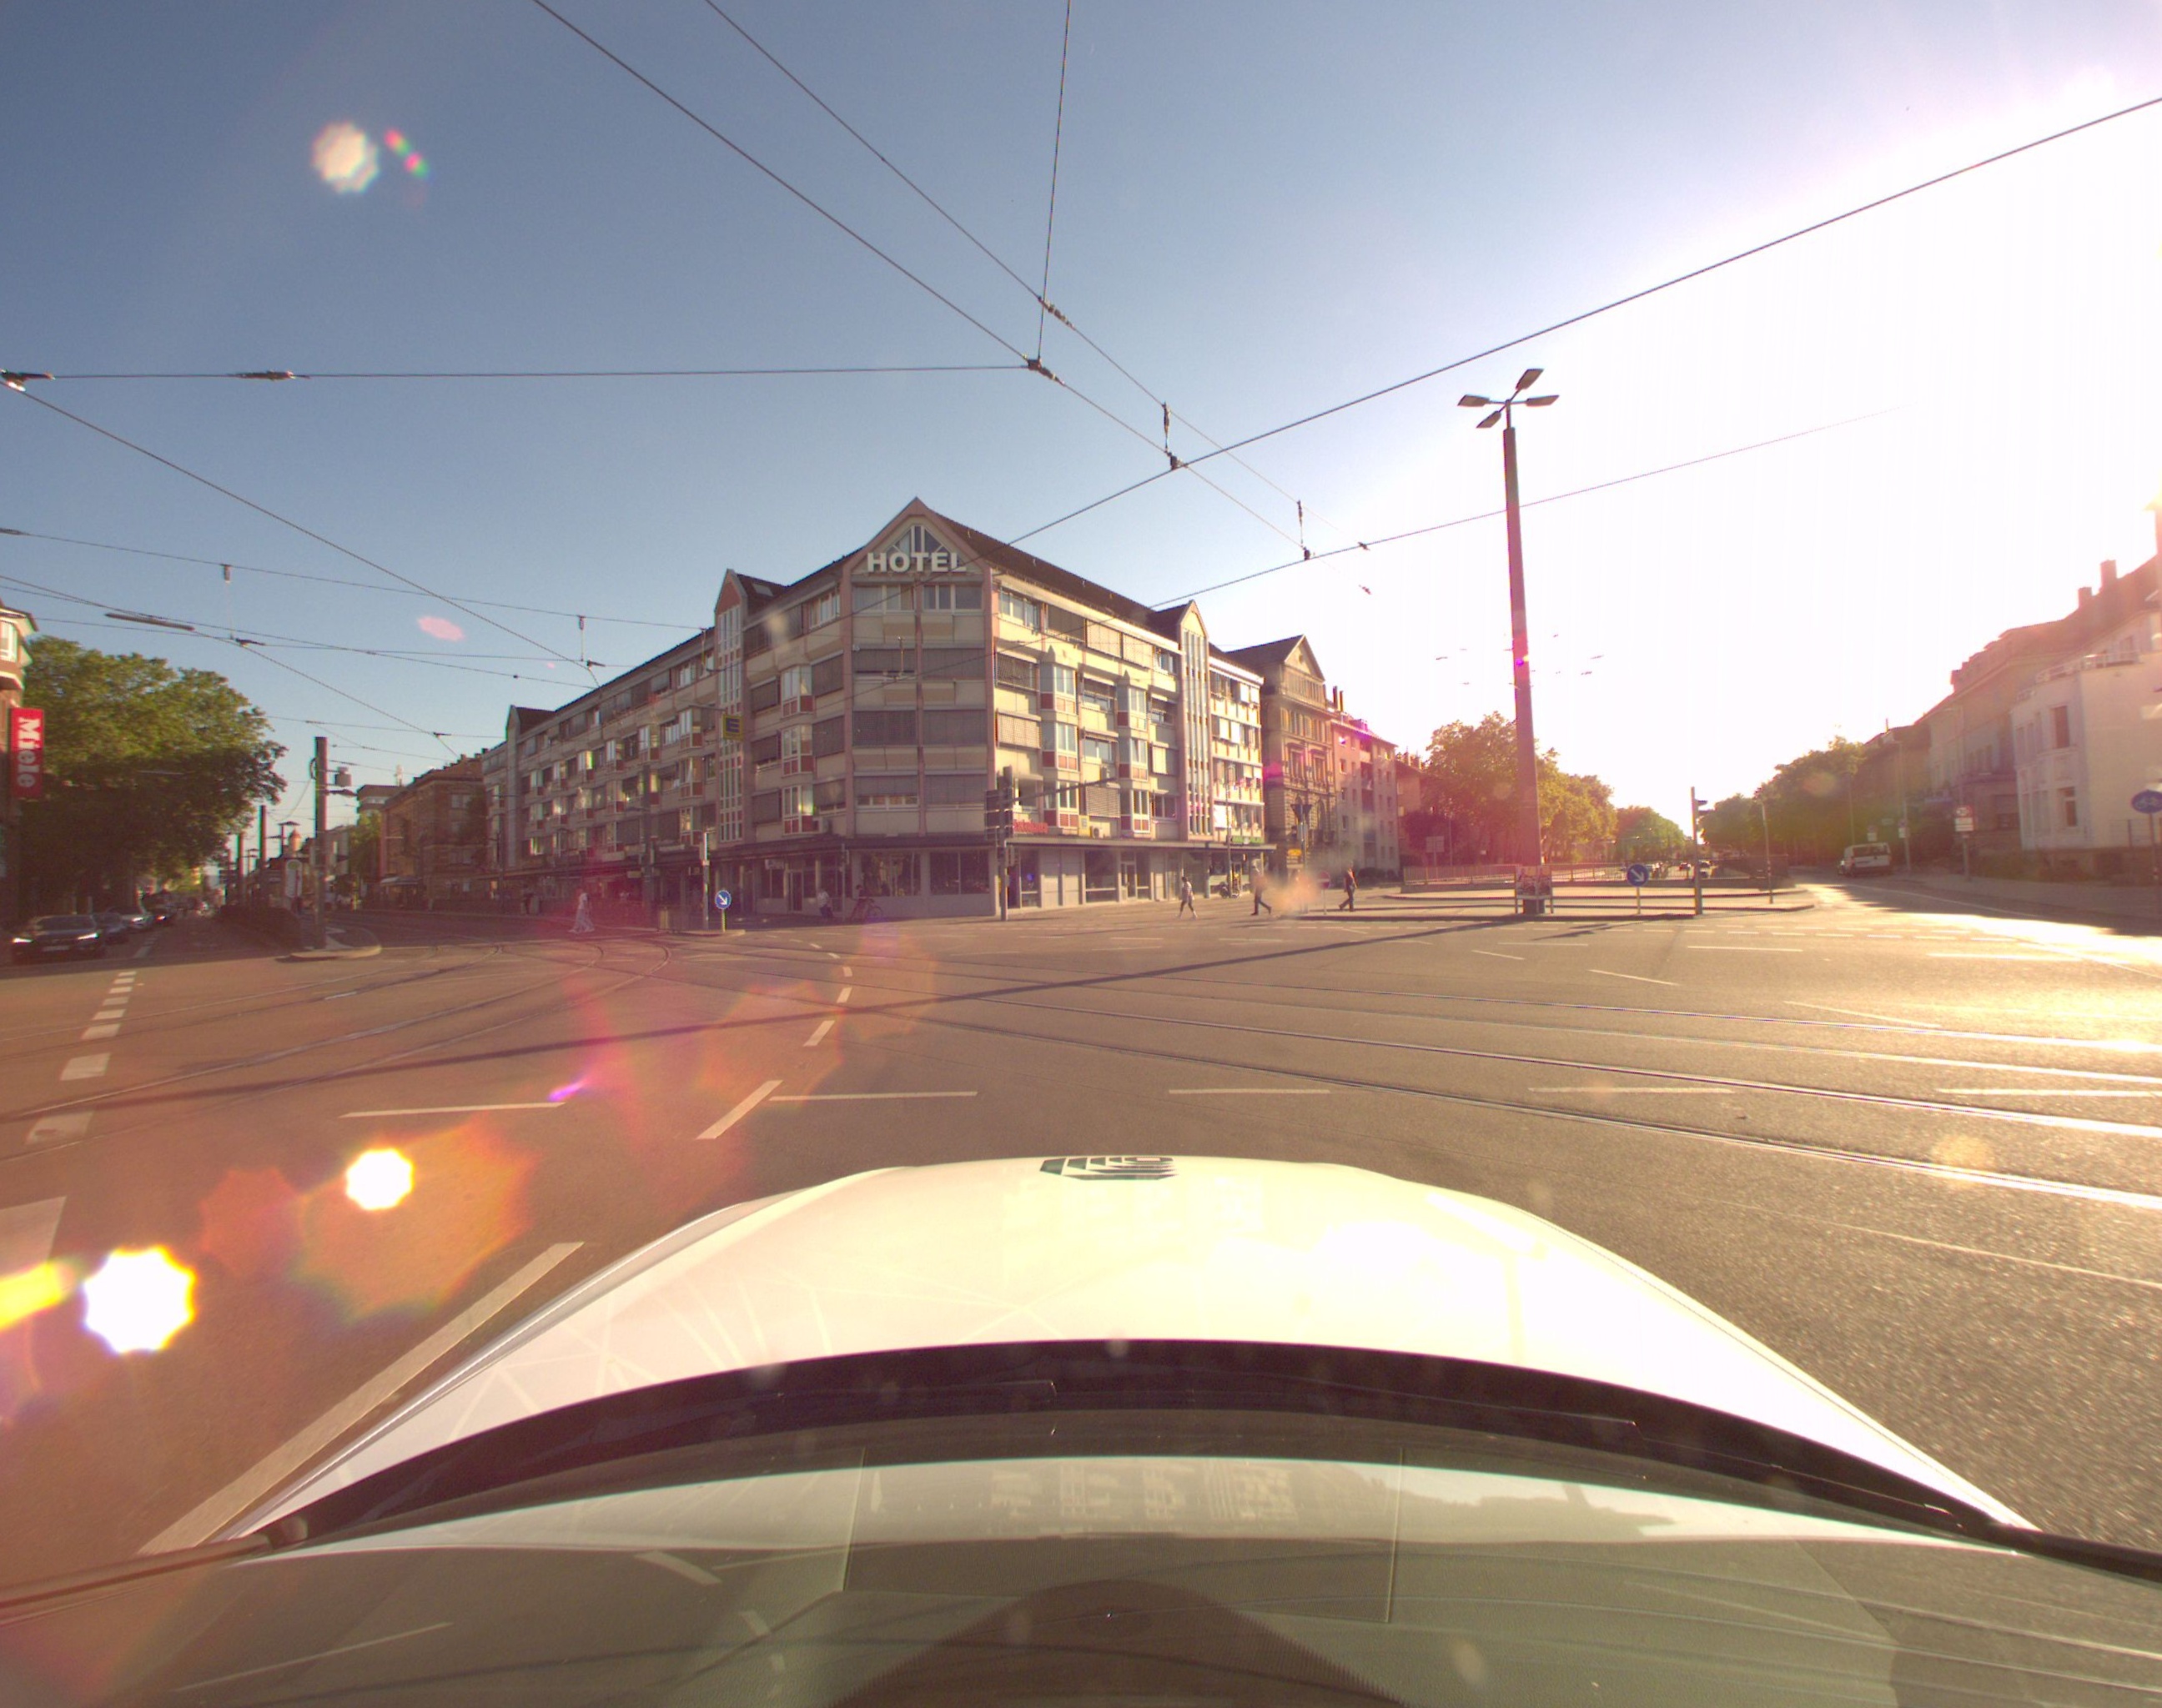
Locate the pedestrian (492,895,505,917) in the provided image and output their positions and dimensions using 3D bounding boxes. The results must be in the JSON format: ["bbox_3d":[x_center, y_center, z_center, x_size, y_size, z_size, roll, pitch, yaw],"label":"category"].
[{"bbox_3d":[-53.198,4.752,74.315,0.846,2.014,0.768,1,-2,-43],"label":"pedestrian"}]

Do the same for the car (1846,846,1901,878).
[{"bbox_3d":[55.732,0.605,57.359,2.263,2.172,4.863,-1,-2,39],"label":"car"}]

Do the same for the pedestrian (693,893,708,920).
[{"bbox_3d":[-23.002,3.160,49.221,0.608,1.635,0.602,0,-2,-7],"label":"pedestrian"}]

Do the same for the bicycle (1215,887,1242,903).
[{"bbox_3d":[9.782,2.713,54.078,2.101,1.071,0.447,1,-2,-36],"label":"bicycle"}]

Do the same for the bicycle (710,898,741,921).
[{"bbox_3d":[-20.032,3.112,45.867,2.302,1.227,0.734,-3,-3,43],"label":"bicycle"}]

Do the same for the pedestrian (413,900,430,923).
[{"bbox_3d":[-51.073,4.447,63.058,0.675,1.660,0.786,-1,-2,32],"label":"pedestrian"}]

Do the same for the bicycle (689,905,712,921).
[{"bbox_3d":[-22.335,3.459,47.765,2.052,0.917,0.504,-3,-3,43],"label":"bicycle"}]

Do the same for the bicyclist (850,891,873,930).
[{"bbox_3d":[-9.549,2.449,35.481,0.633,1.596,0.662,-1,1,41],"label":"bicyclist"}]

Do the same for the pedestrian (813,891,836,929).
[{"bbox_3d":[-11.387,2.476,36.128,0.709,1.662,0.636,-3,-3,14],"label":"pedestrian"}]

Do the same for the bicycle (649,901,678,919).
[{"bbox_3d":[-27.543,3.704,53.696,0.478,1.119,1.660,-1,-2,37],"label":"bicycle"}]

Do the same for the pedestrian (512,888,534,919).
[{"bbox_3d":[-30.695,2.726,44.820,0.675,1.660,0.786,-1,-2,32],"label":"pedestrian"}]

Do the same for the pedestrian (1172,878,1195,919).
[{"bbox_3d":[3.793,1.643,30.098,0.849,1.465,0.687,0,-6,8],"label":"pedestrian"}]

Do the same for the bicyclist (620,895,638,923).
[{"bbox_3d":[-26.459,3.214,47.711,0.791,1.532,0.632,-3,0,42],"label":"bicyclist"}]

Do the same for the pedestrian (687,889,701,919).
[{"bbox_3d":[-24.412,3.174,51.356,0.614,1.852,0.596,1,-2,-43],"label":"pedestrian"}]

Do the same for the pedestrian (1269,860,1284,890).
[{"bbox_3d":[15.626,1.658,64.969,0.918,2.398,0.966,-1,-2,27],"label":"pedestrian"}]

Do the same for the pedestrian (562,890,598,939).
[{"bbox_3d":[-18.606,2.246,30.266,0.505,1.764,1.010,-1,-2,18],"label":"pedestrian"}]

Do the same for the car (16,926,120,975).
[{"bbox_3d":[-33.495,3.139,27.020,3.888,1.244,1.761,-1,-2,44],"label":"car"}]

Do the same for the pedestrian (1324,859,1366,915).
[{"bbox_3d":[9.127,1.132,28.120,1.183,1.884,0.862,-1,-1,33],"label":"pedestrian"}]

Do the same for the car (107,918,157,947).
[{"bbox_3d":[-56.917,4.693,48.888,3.888,1.425,1.761,-1,-2,43],"label":"car"}]

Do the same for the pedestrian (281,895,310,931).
[{"bbox_3d":[-35.576,2.669,36.898,0.614,1.578,0.694,-1,-2,17],"label":"pedestrian"}]

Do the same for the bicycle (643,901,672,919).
[{"bbox_3d":[-28.481,3.730,54.752,0.559,1.119,1.660,-1,-2,37],"label":"bicycle"}]

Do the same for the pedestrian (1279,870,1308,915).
[{"bbox_3d":[7.087,1.263,27.140,0.698,1.453,0.862,-1,-2,33],"label":"pedestrian"}]

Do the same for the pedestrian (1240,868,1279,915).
[{"bbox_3d":[6.767,1.409,30.889,1.183,1.731,0.862,-1,-2,33],"label":"pedestrian"}]

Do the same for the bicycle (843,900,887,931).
[{"bbox_3d":[-9.437,2.671,35.610,0.633,1.145,1.781,-1,1,41],"label":"bicycle"}]

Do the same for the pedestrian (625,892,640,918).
[{"bbox_3d":[-31.138,3.529,56.594,0.821,1.778,0.675,0,-2,-23],"label":"pedestrian"}]

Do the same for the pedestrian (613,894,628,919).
[{"bbox_3d":[-30.607,3.493,54.154,0.757,1.645,0.543,1,-2,-43],"label":"pedestrian"}]

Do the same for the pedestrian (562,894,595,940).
[{"bbox_3d":[-19.226,2.391,31.176,0.618,1.694,0.869,0,-1,6],"label":"pedestrian"}]

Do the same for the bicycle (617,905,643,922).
[{"bbox_3d":[-26.416,3.469,47.688,1.886,0.930,0.632,-3,0,41],"label":"bicycle"}]

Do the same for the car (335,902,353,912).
[{"bbox_3d":[-121.996,8.719,134.799,3.950,1.552,2.012,-1,-2,44],"label":"car"}]

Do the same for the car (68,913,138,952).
[{"bbox_3d":[-43.716,3.468,36.475,3.888,1.425,1.761,-1,-2,43],"label":"car"}]
